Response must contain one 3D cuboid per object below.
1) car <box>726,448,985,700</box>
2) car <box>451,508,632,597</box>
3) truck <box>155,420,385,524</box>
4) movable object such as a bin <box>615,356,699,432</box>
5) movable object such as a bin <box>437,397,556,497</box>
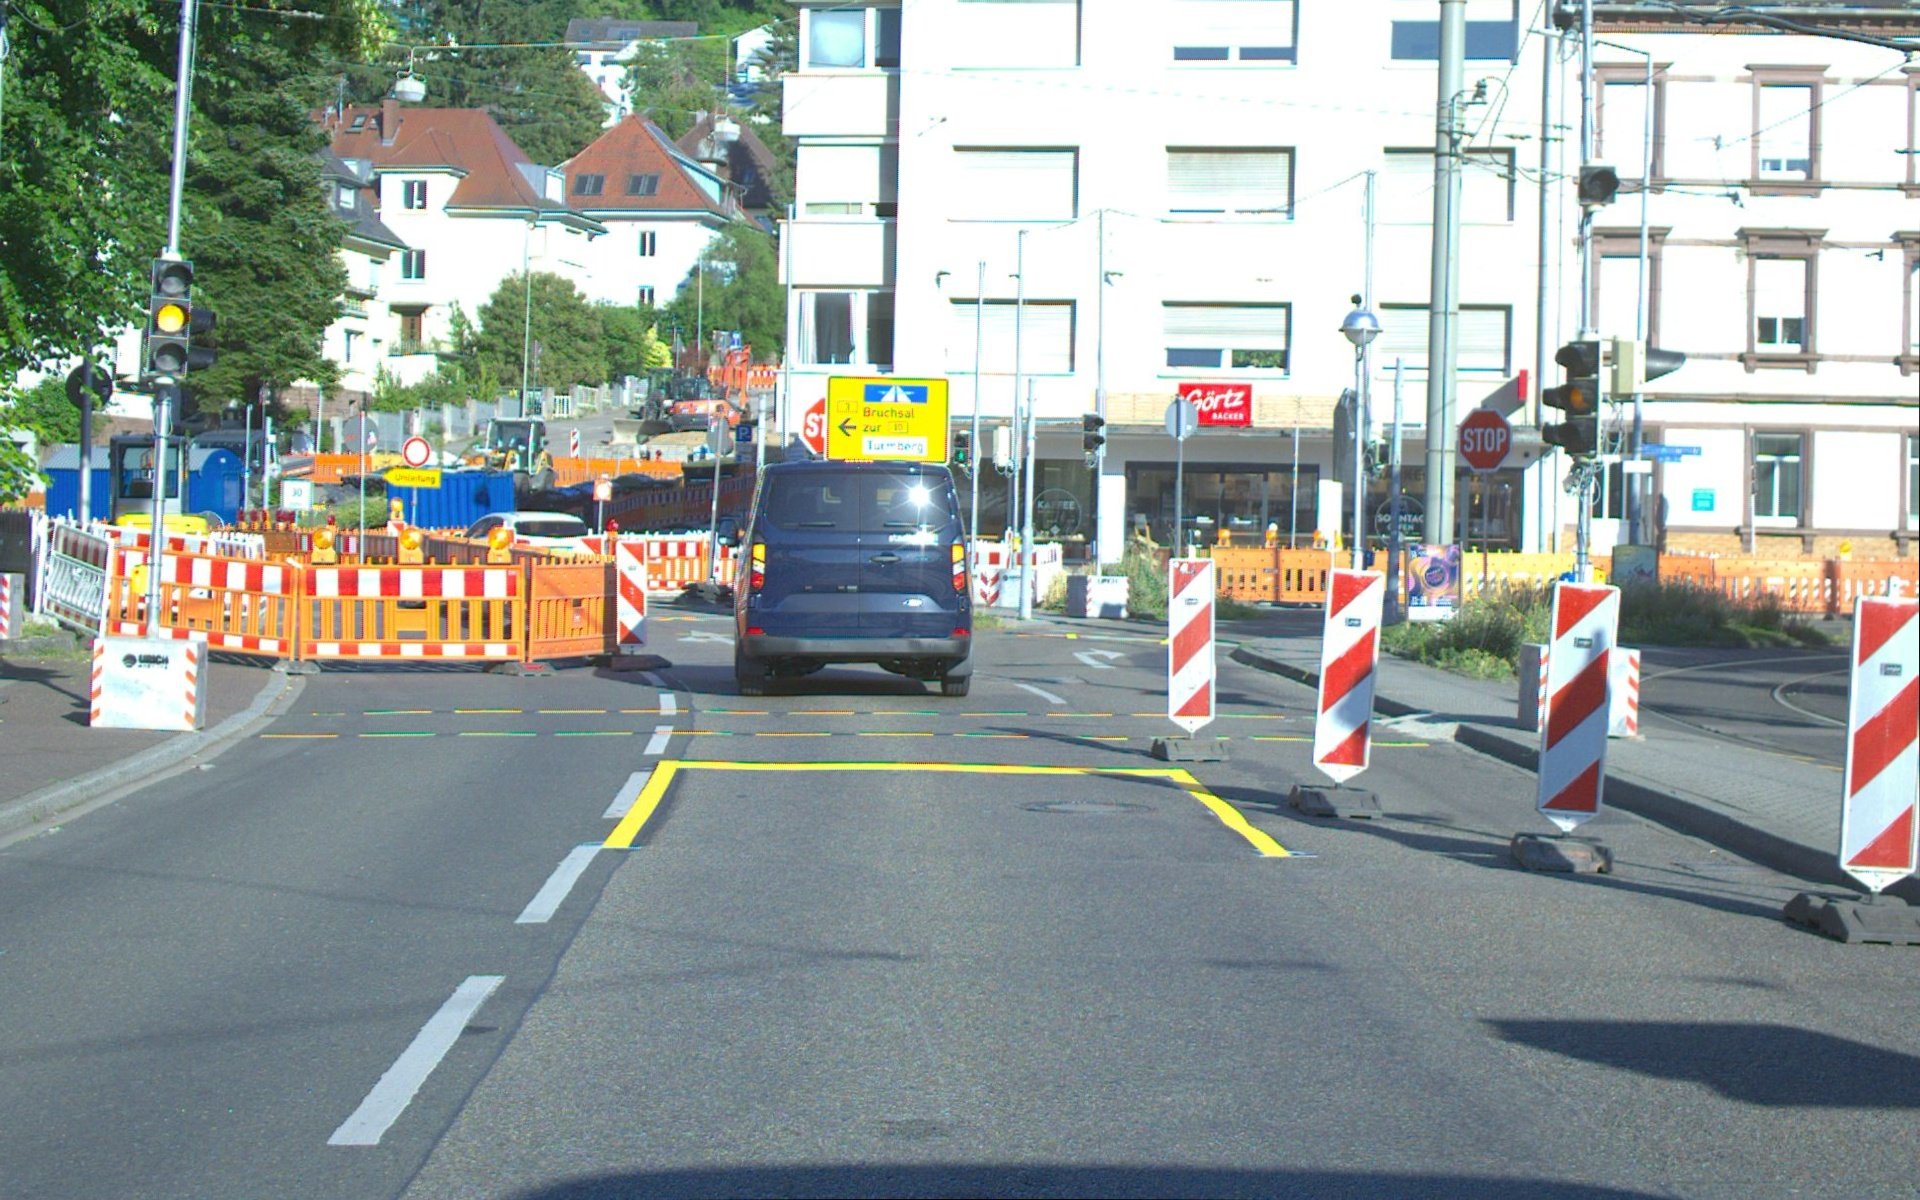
[{"bbox_3d":[-0.911,-0.260,30.328,2.061,2.007,5.001,1,1,-1],"label":"car"},{"bbox_3d":[-6.942,-0.801,56.734,1.794,1.405,4.001,1,1,-25],"label":"car"},{"bbox_3d":[-17.211,-3.159,86.464,2.357,2.407,9.148,2,1,11],"label":"truck"},{"bbox_3d":[-11.558,-7.860,131.518,2.191,2.681,3.999,2,1,10],"label":"movable object such as a bin"},{"bbox_3d":[-13.046,-4.296,97.016,2.191,2.681,3.999,2,1,10],"label":"movable object such as a bin"}]
